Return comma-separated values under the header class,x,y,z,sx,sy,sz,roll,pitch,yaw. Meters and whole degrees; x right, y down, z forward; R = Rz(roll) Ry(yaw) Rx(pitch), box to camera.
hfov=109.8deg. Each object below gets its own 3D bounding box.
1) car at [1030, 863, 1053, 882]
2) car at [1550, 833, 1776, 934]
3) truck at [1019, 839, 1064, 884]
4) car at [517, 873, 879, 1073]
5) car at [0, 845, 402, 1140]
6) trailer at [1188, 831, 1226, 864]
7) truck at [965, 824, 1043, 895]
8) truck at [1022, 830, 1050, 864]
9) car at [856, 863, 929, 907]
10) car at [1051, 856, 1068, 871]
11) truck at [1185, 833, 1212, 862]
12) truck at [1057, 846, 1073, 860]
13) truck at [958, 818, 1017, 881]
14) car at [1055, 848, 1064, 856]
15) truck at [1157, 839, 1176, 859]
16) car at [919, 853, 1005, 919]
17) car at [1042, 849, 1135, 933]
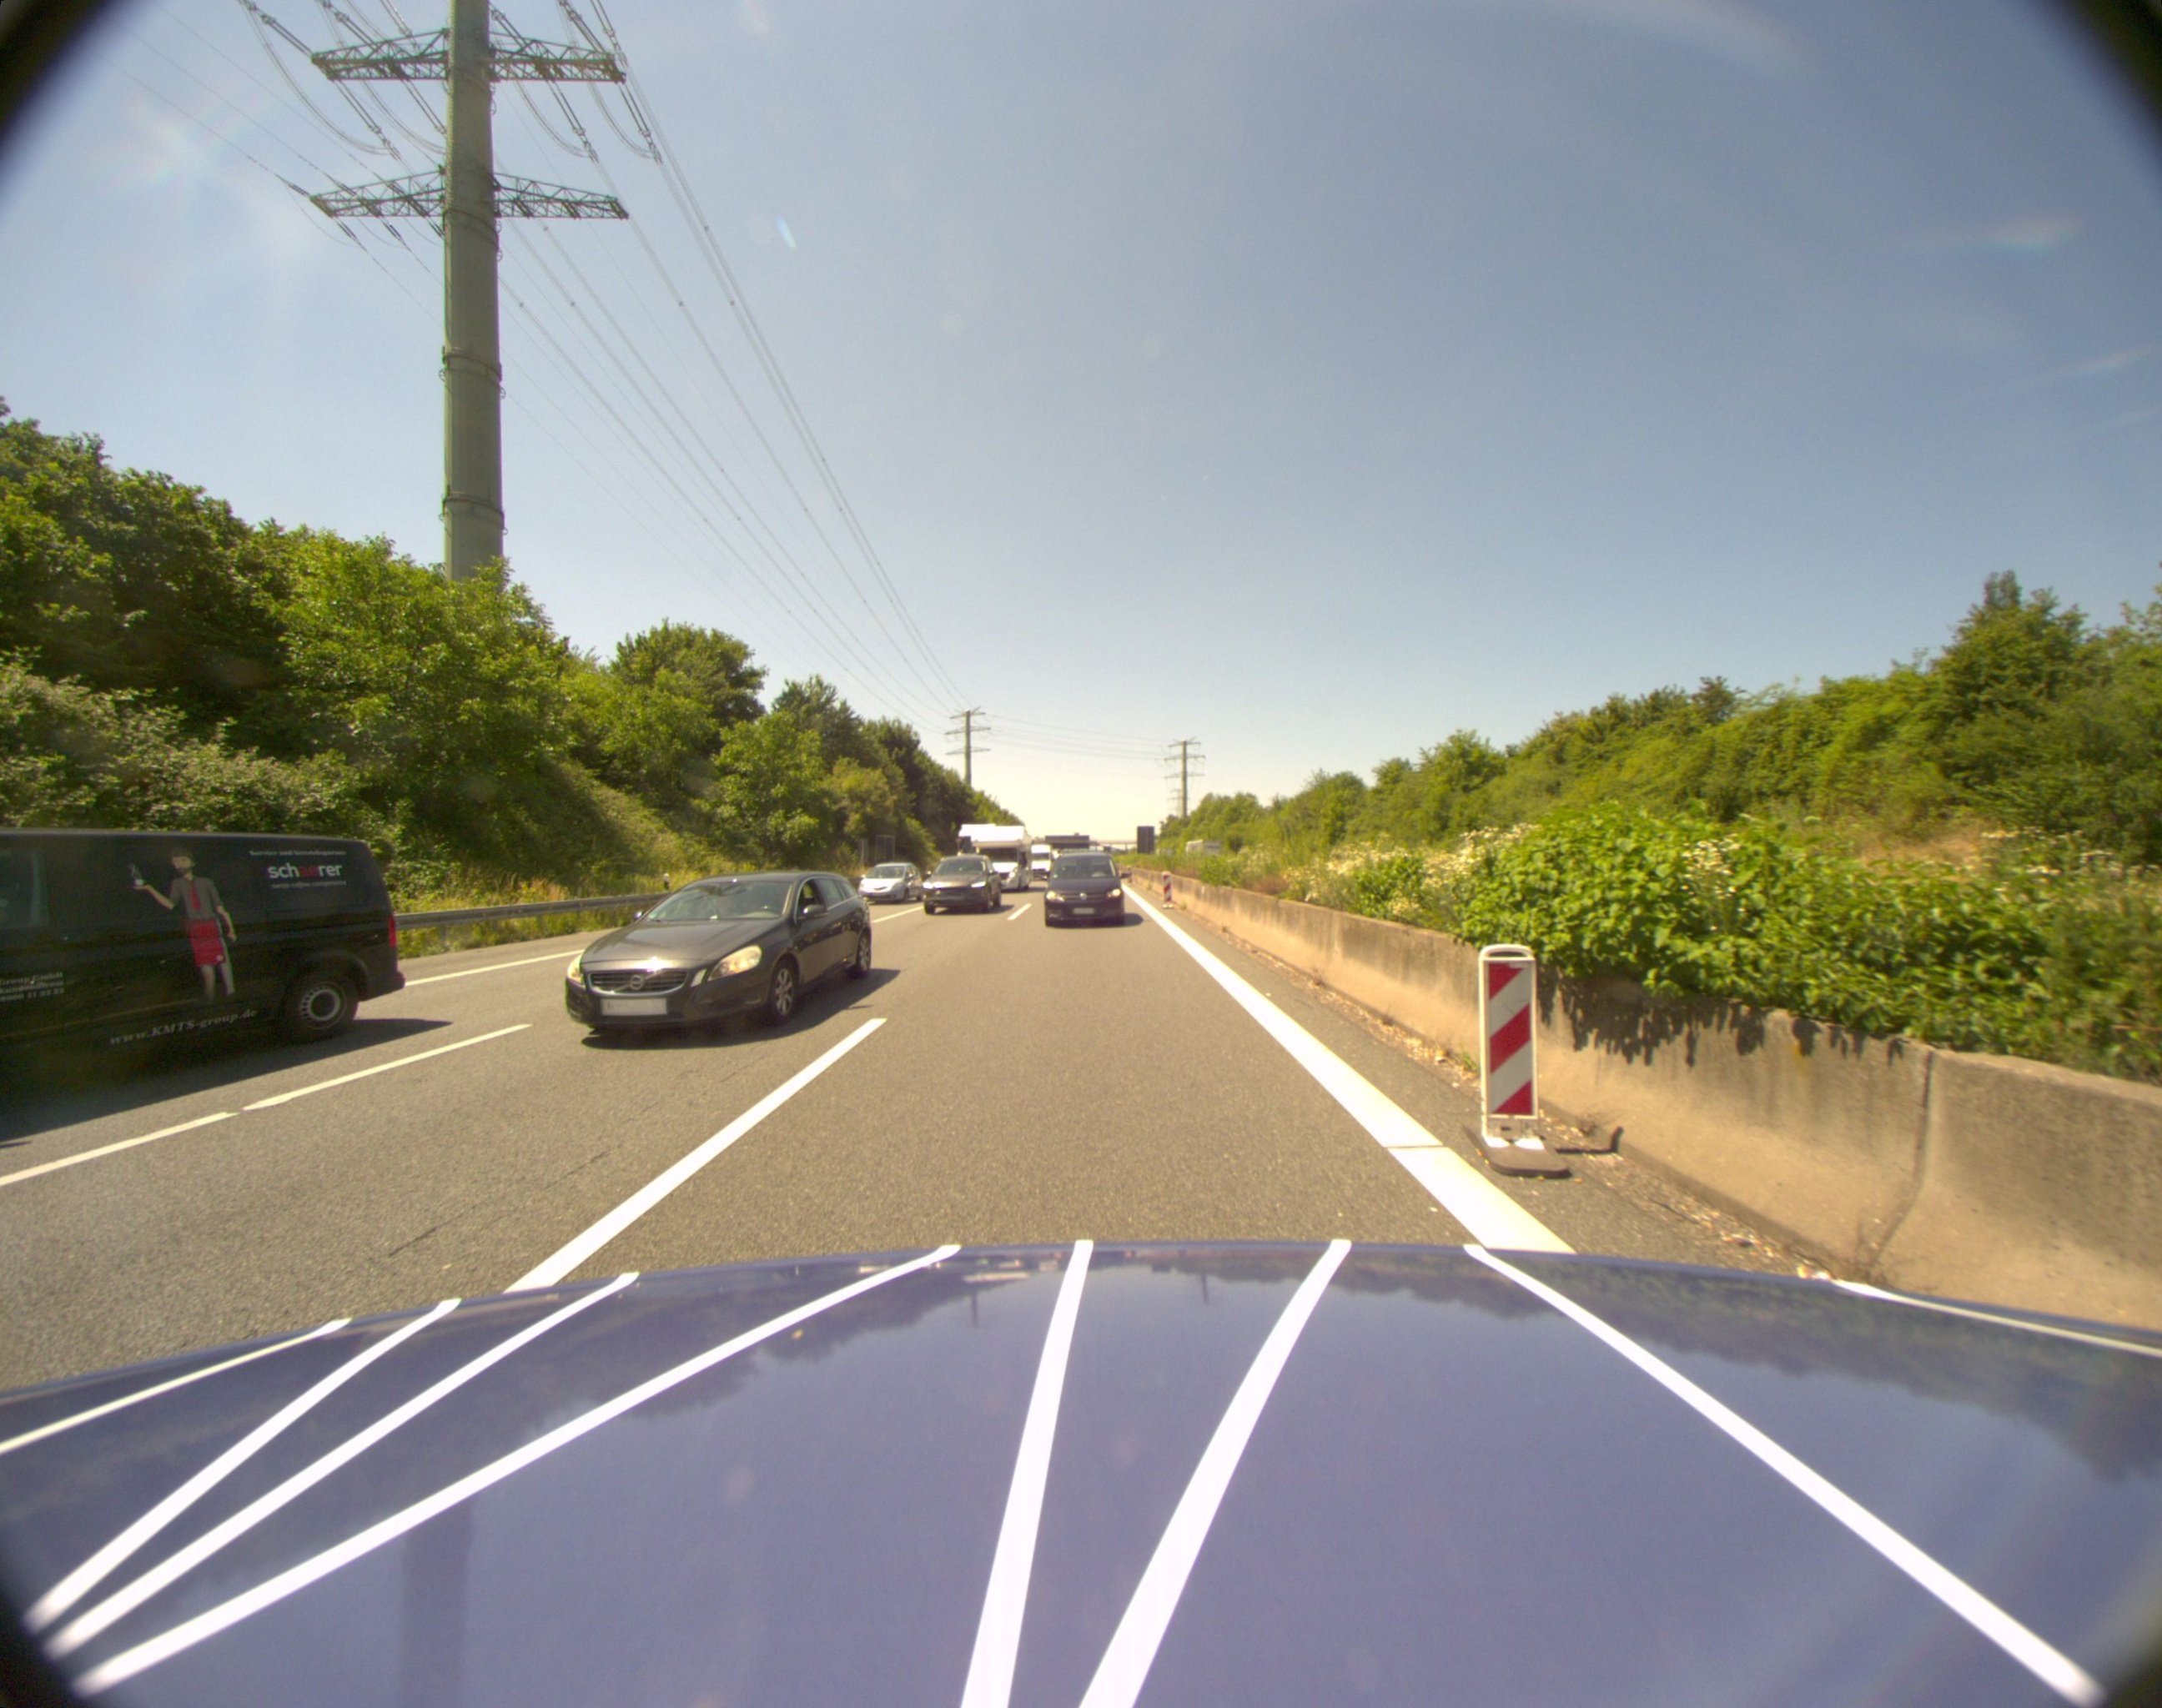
class,x,y,z,sx,sy,sz,roll,pitch,yaw
car,-3.743,1.737,72.348,1.892,1.692,4.383,-2,0,-1
car,11.932,0.542,15.973,1.707,1.852,4.000,0,0,1
truck,-2.819,0.499,57.196,2.514,2.997,9.897,-2,0,2
car,-3.667,1.019,8.292,1.800,1.429,4.230,-2,0,-1
car,-7.872,0.921,5.398,1.788,1.893,4.697,-2,0,0
trailer,17.318,-0.853,105.656,3.024,4.143,14.020,2,0,1
truck,-3.632,0.204,38.160,2.514,2.997,9.897,-2,0,2
truck,-5.815,-0.873,99.815,2.655,4.128,11.661,-2,0,1
car,-6.998,1.100,28.559,1.800,1.429,3.731,-2,0,-1
car,-2.632,1.167,93.689,1.892,1.692,4.383,-2,0,-1
truck,17.494,-0.906,113.308,3.024,4.143,5.805,2,1,1
truck,-2.749,-0.202,131.163,2.408,2.203,6.744,-2,0,2
truck,-6.813,-0.343,57.001,2.655,4.128,11.661,-2,0,1
car,-5.391,-0.486,193.860,1.998,2.002,4.000,-2,0,1
truck,17.292,-0.974,154.378,2.769,3.866,9.029,2,0,1
car,-3.468,0.872,22.937,1.892,1.692,4.383,-2,0,-1
car,0.135,0.766,18.035,1.892,1.692,4.383,-2,0,-1
